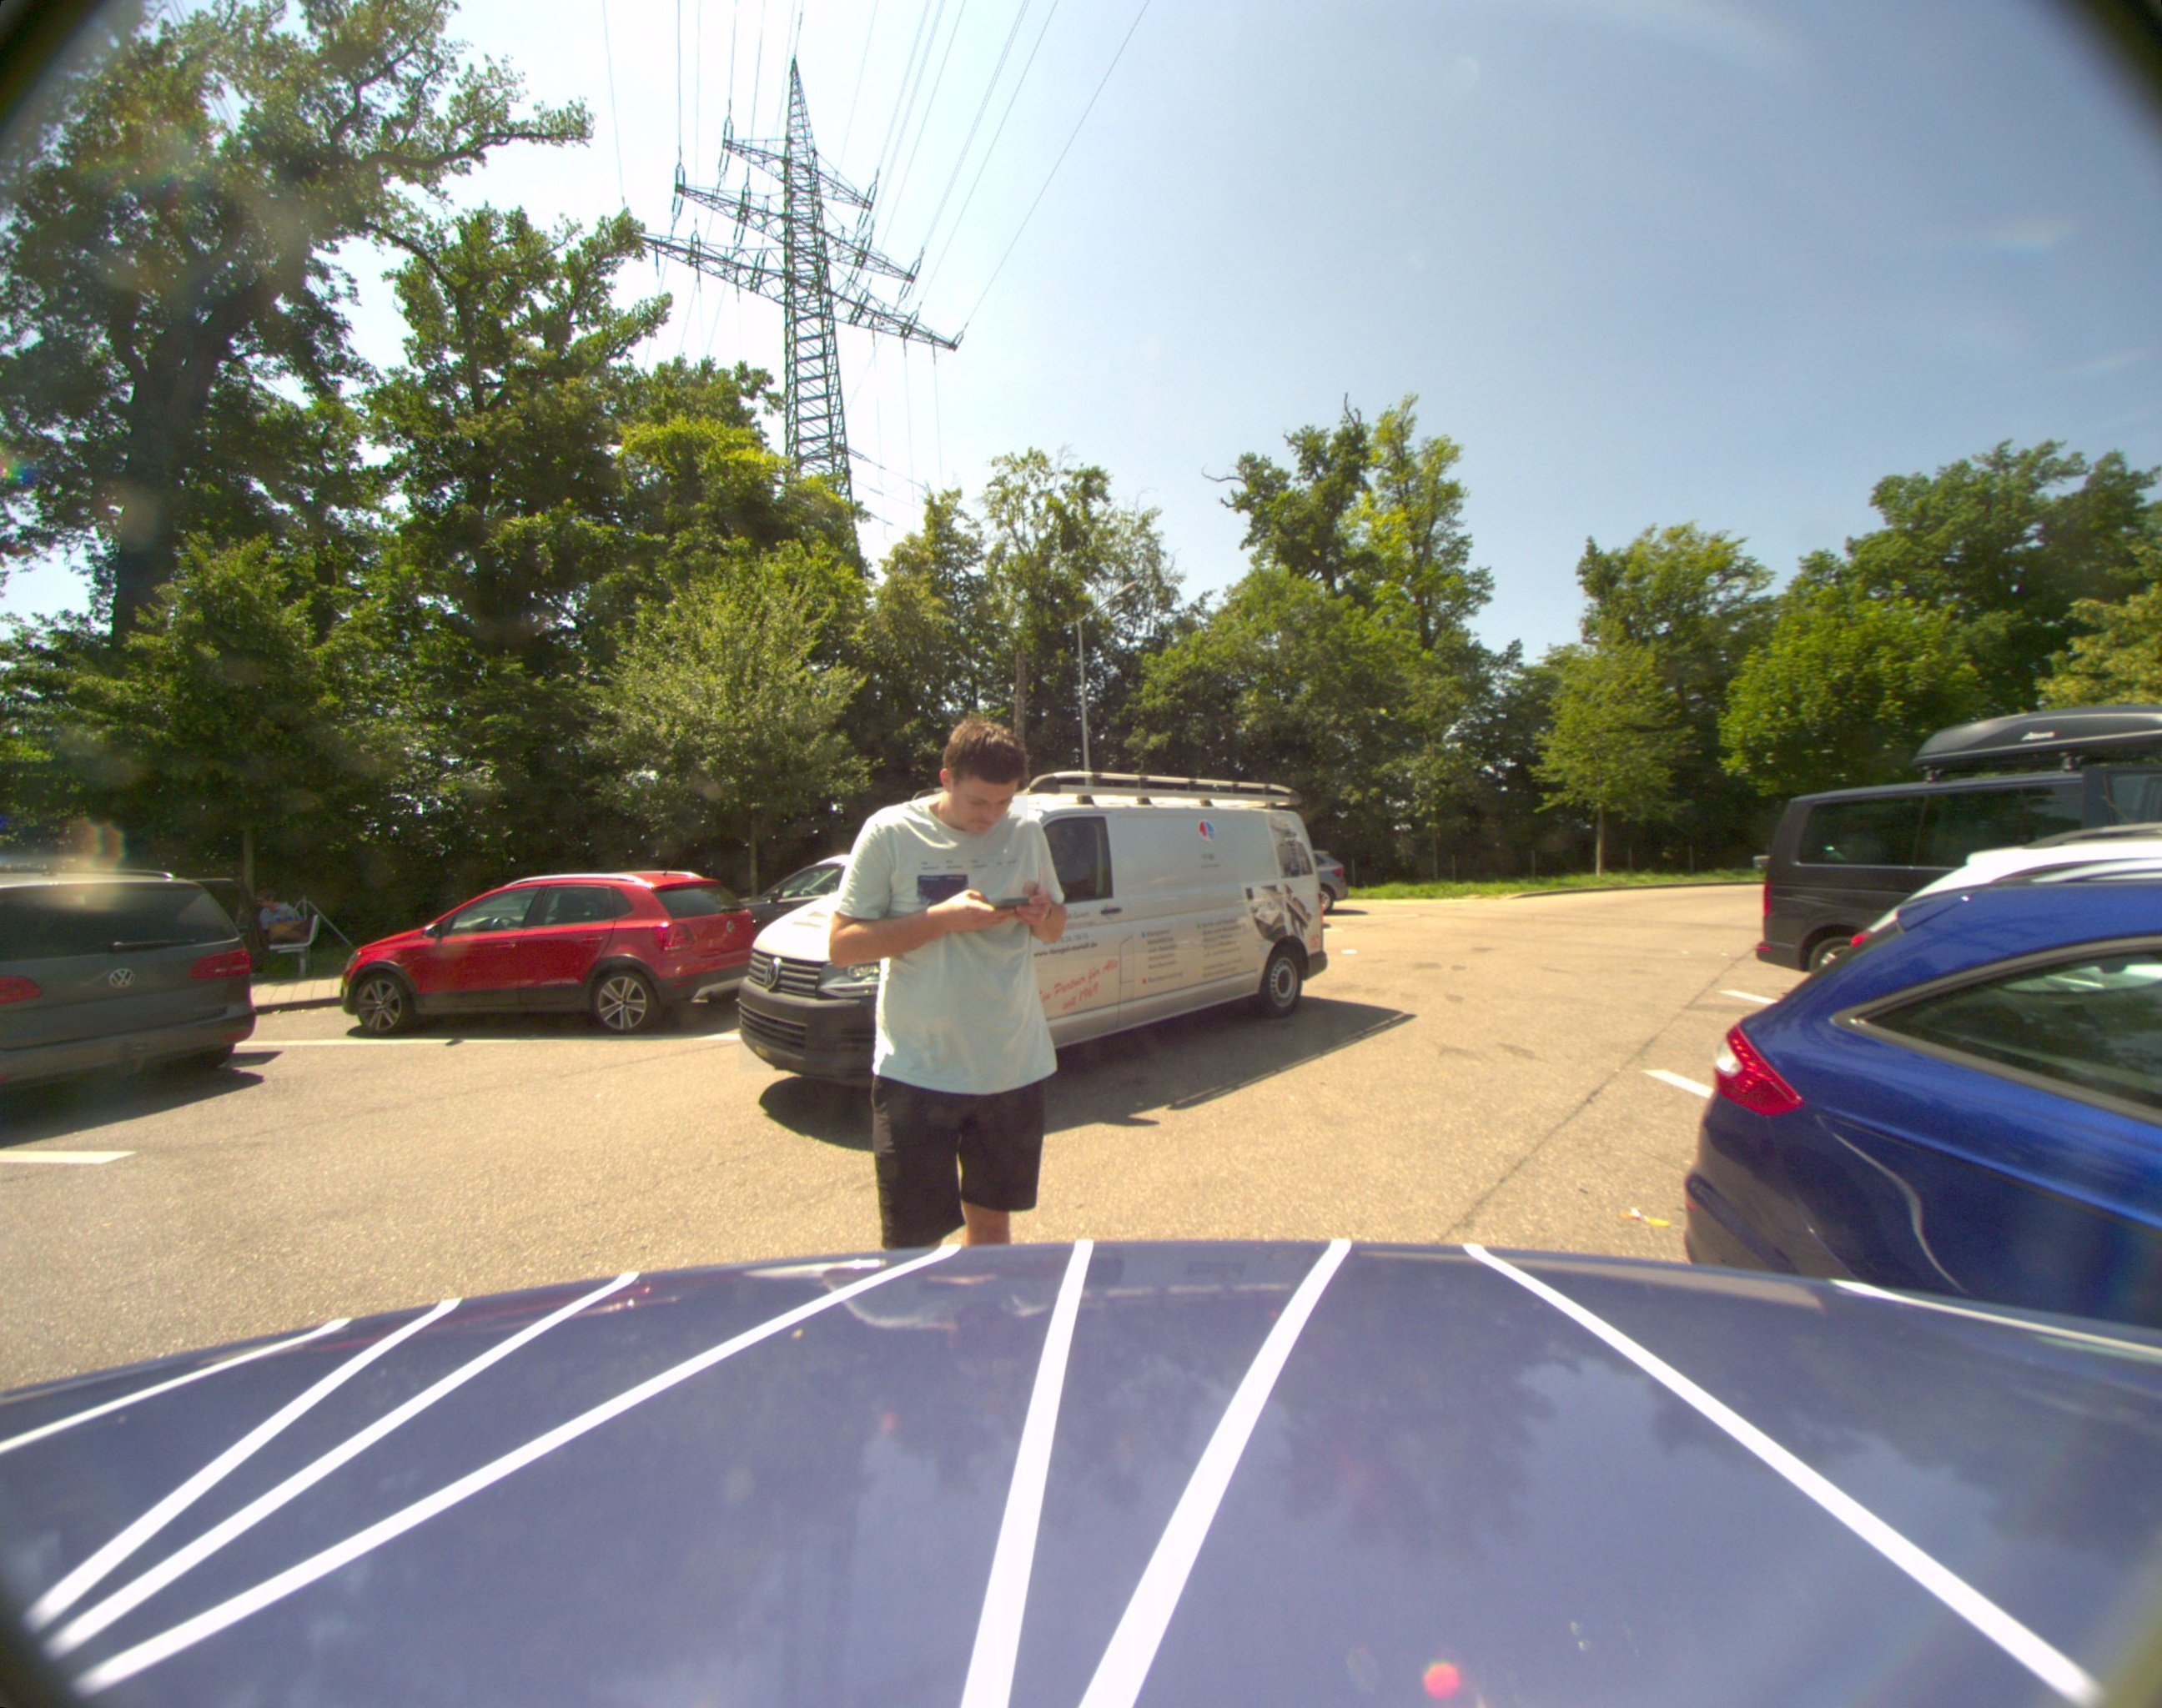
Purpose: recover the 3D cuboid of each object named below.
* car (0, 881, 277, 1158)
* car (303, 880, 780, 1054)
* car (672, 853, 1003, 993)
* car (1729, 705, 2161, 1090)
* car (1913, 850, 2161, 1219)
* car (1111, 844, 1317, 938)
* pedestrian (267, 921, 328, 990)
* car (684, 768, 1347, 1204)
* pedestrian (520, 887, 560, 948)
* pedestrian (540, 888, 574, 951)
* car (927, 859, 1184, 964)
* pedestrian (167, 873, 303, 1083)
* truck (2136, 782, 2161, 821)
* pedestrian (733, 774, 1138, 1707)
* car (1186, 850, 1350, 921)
[{"bbox_3d":[-8.362,1.092,5.425,3.903,1.607,1.705,-2,1,11],"label":"car"},{"bbox_3d":[-5.255,1.075,7.661,3.745,1.458,1.621,-2,0,7],"label":"car"},{"bbox_3d":[-3.109,0.862,10.284,3.866,1.607,1.709,-2,0,0],"label":"car"},{"bbox_3d":[7.293,0.248,5.299,1.788,2.304,4.084,-2,0,-5],"label":"car"},{"bbox_3d":[4.696,0.666,2.114,1.344,1.352,3.114,-2,0,1],"label":"car"},{"bbox_3d":[2.593,0.710,15.397,3.850,1.678,1.755,-2,0,4],"label":"car"},{"bbox_3d":[-10.858,1.394,10.546,0.503,0.874,0.512,-2,0,-39],"label":"pedestrian"},{"bbox_3d":[0.023,0.599,6.209,5.445,2.092,1.839,-2,1,-45],"label":"car"},{"bbox_3d":[-10.933,1.284,15.353,0.413,1.186,0.443,-2,1,12],"label":"pedestrian"},{"bbox_3d":[-10.092,1.259,14.637,0.366,1.186,0.356,-2,1,21],"label":"pedestrian"},{"bbox_3d":[-0.330,0.870,12.158,3.773,1.445,1.848,-2,0,4],"label":"car"},{"bbox_3d":[-7.379,1.041,6.642,0.481,1.712,0.589,-2,1,22],"label":"pedestrian"},{"bbox_3d":[40.277,-1.970,27.092,1.168,1.367,2.882,-2,-1,-19],"label":"truck"},{"bbox_3d":[-0.372,0.760,1.873,0.741,1.818,0.613,-2,0,-34],"label":"pedestrian"},{"bbox_3d":[4.342,0.730,18.113,3.585,1.493,1.707,-2,1,8],"label":"car"}]
